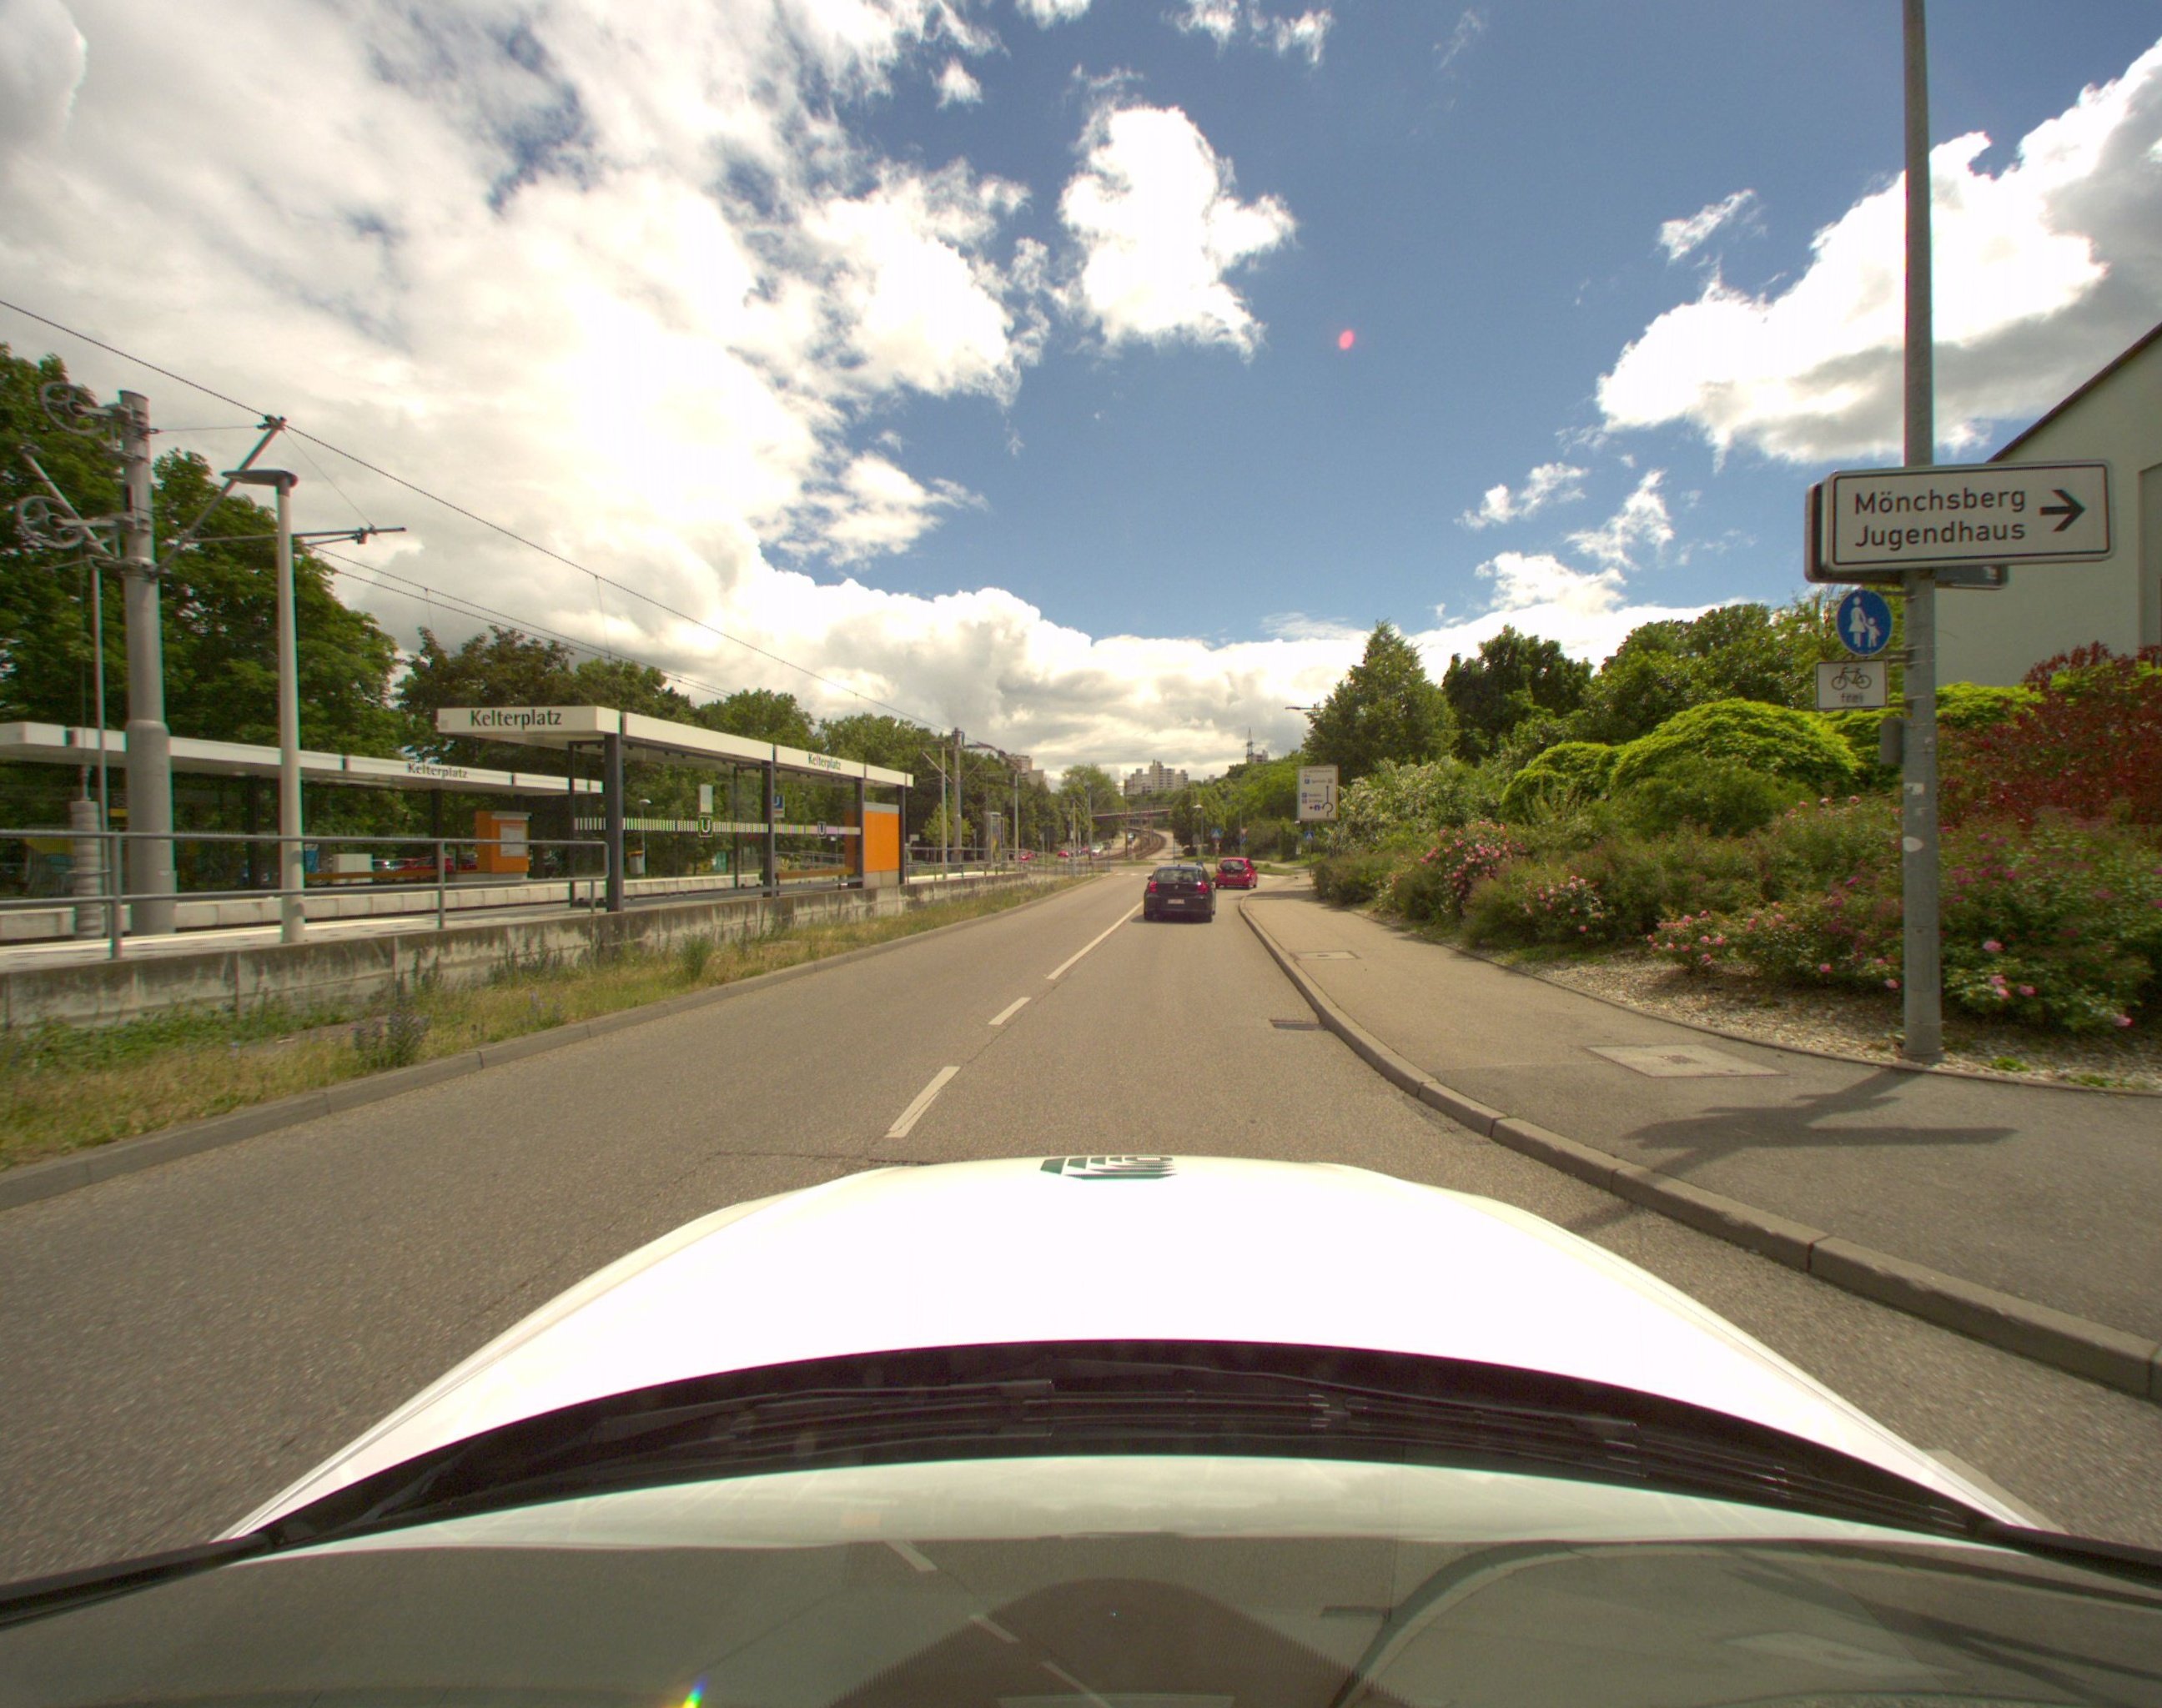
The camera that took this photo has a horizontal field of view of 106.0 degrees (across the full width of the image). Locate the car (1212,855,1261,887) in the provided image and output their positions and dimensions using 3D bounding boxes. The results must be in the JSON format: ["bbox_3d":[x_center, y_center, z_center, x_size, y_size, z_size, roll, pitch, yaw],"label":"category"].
[{"bbox_3d":[7.411,0.787,38.559,1.751,1.432,3.496,-2,-1,20],"label":"car"}]

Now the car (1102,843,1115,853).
[{"bbox_3d":[5.664,-1.191,164.927,1.980,1.862,4.014,0,1,12],"label":"car"}]

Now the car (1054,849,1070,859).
[{"bbox_3d":[-2.736,-0.011,117.866,1.519,1.370,3.607,-1,0,9],"label":"car"}]

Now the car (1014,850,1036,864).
[{"bbox_3d":[-6.543,0.322,95.397,1.707,1.503,2.978,0,1,14],"label":"car"}]

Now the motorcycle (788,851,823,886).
[{"bbox_3d":[-16.462,0.855,48.761,0.826,2.013,1.993,-1,0,22],"label":"motorcycle"}]

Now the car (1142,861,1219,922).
[{"bbox_3d":[2.707,0.934,21.552,1.804,1.421,4.010,-1,-1,9],"label":"car"}]

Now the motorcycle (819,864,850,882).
[{"bbox_3d":[-15.725,1.197,52.013,0.723,1.081,2.225,-1,0,16],"label":"motorcycle"}]

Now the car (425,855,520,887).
[{"bbox_3d":[-34.110,0.960,45.714,3.964,1.684,1.979,0,1,8],"label":"car"}]

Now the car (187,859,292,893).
[{"bbox_3d":[-45.249,1.167,43.840,3.958,1.728,2.199,0,1,15],"label":"car"}]

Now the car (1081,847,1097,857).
[{"bbox_3d":[1.368,-0.303,138.602,1.900,1.561,4.013,-1,1,11],"label":"car"}]

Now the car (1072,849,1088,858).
[{"bbox_3d":[-0.166,-0.111,128.446,1.794,1.254,3.580,-1,1,12],"label":"car"}]

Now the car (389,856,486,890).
[{"bbox_3d":[-34.258,1.004,43.408,3.615,1.705,2.058,0,1,8],"label":"car"}]
